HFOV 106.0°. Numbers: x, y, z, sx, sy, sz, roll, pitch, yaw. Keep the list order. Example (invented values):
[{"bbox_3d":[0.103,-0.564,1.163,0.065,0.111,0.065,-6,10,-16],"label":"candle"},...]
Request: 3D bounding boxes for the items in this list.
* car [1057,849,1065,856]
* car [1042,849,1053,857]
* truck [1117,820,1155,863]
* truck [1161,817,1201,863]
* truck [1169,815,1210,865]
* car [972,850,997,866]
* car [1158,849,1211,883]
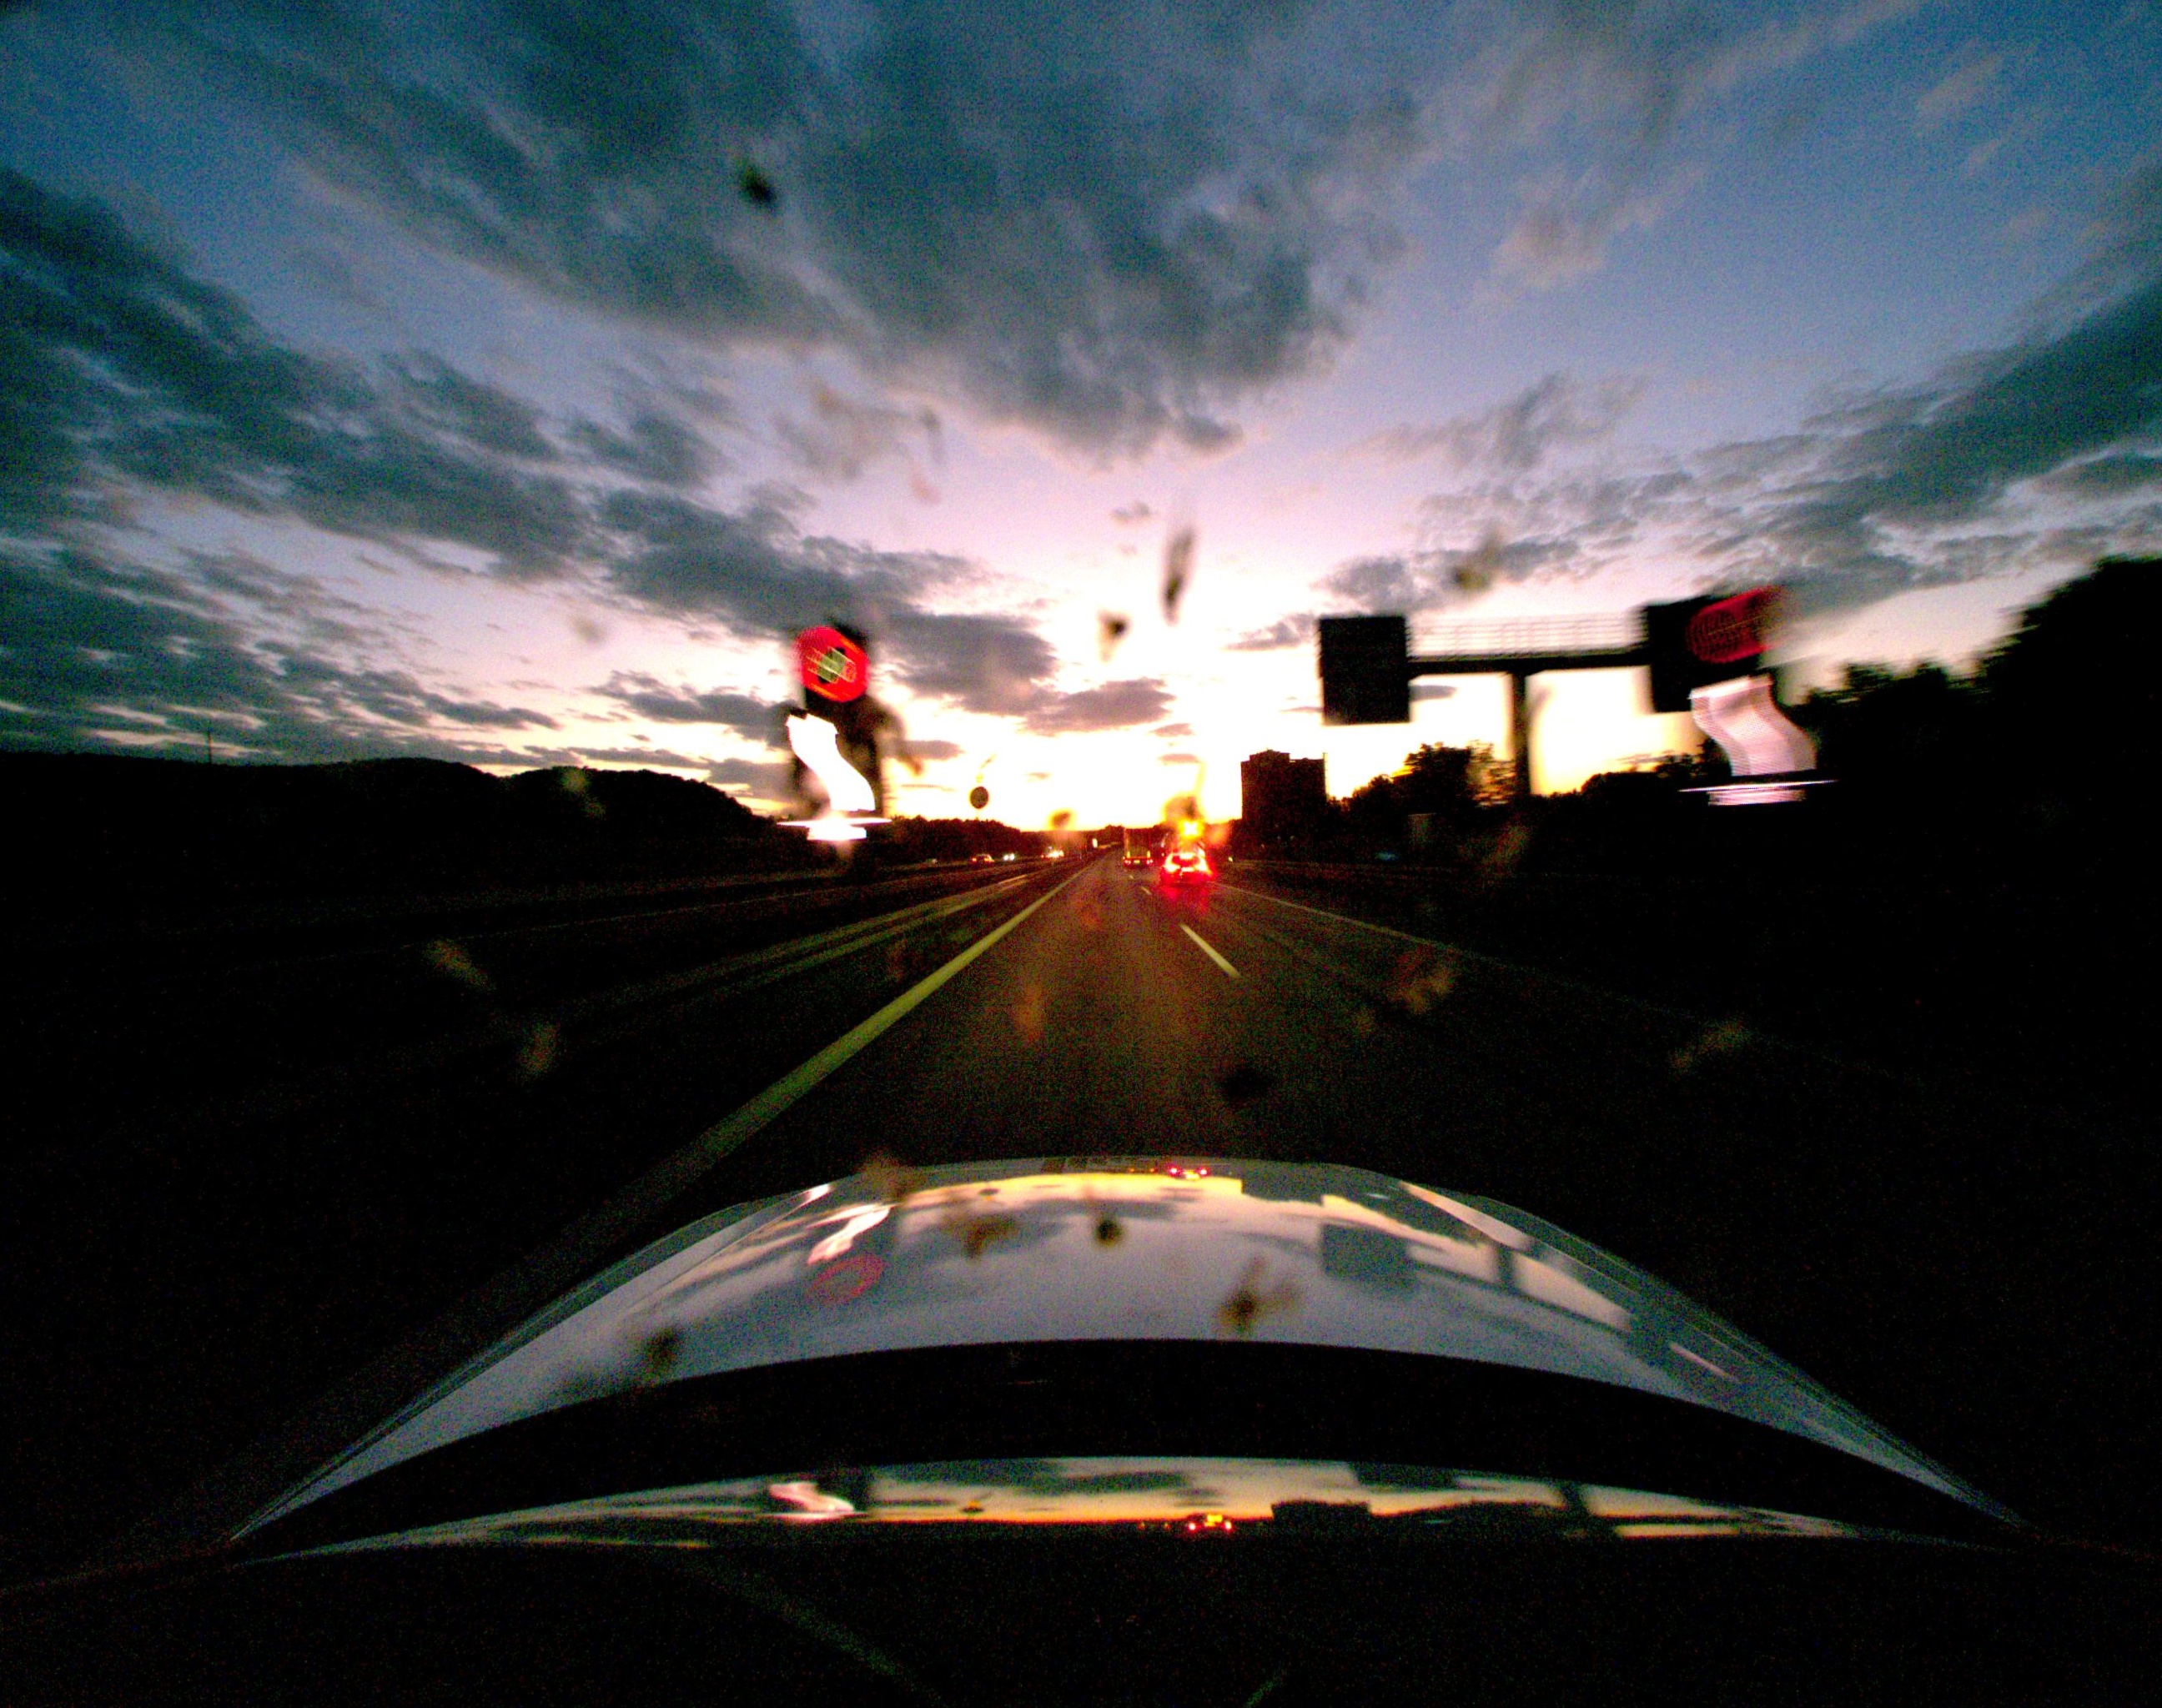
[{"bbox_3d":[-4.912,-0.425,201.742,1.631,1.546,3.397,-3,0,2],"label":"car"},{"bbox_3d":[-6.702,-0.226,162.501,1.706,1.605,3.724,-3,0,2],"label":"car"},{"bbox_3d":[5.877,-1.290,88.268,3.497,4.301,9.895,-3,0,2],"label":"truck"},{"bbox_3d":[9.567,-1.280,78.865,2.902,4.111,9.153,-2,0,2],"label":"truck"},{"bbox_3d":[9.378,-1.206,71.083,2.777,4.058,6.414,-2,0,2],"label":"truck"},{"bbox_3d":[-10.215,0.374,86.621,1.865,1.561,4.521,-3,0,2],"label":"car"},{"bbox_3d":[4.669,0.512,37.155,1.908,1.442,4.000,-2,0,1],"label":"car"}]
